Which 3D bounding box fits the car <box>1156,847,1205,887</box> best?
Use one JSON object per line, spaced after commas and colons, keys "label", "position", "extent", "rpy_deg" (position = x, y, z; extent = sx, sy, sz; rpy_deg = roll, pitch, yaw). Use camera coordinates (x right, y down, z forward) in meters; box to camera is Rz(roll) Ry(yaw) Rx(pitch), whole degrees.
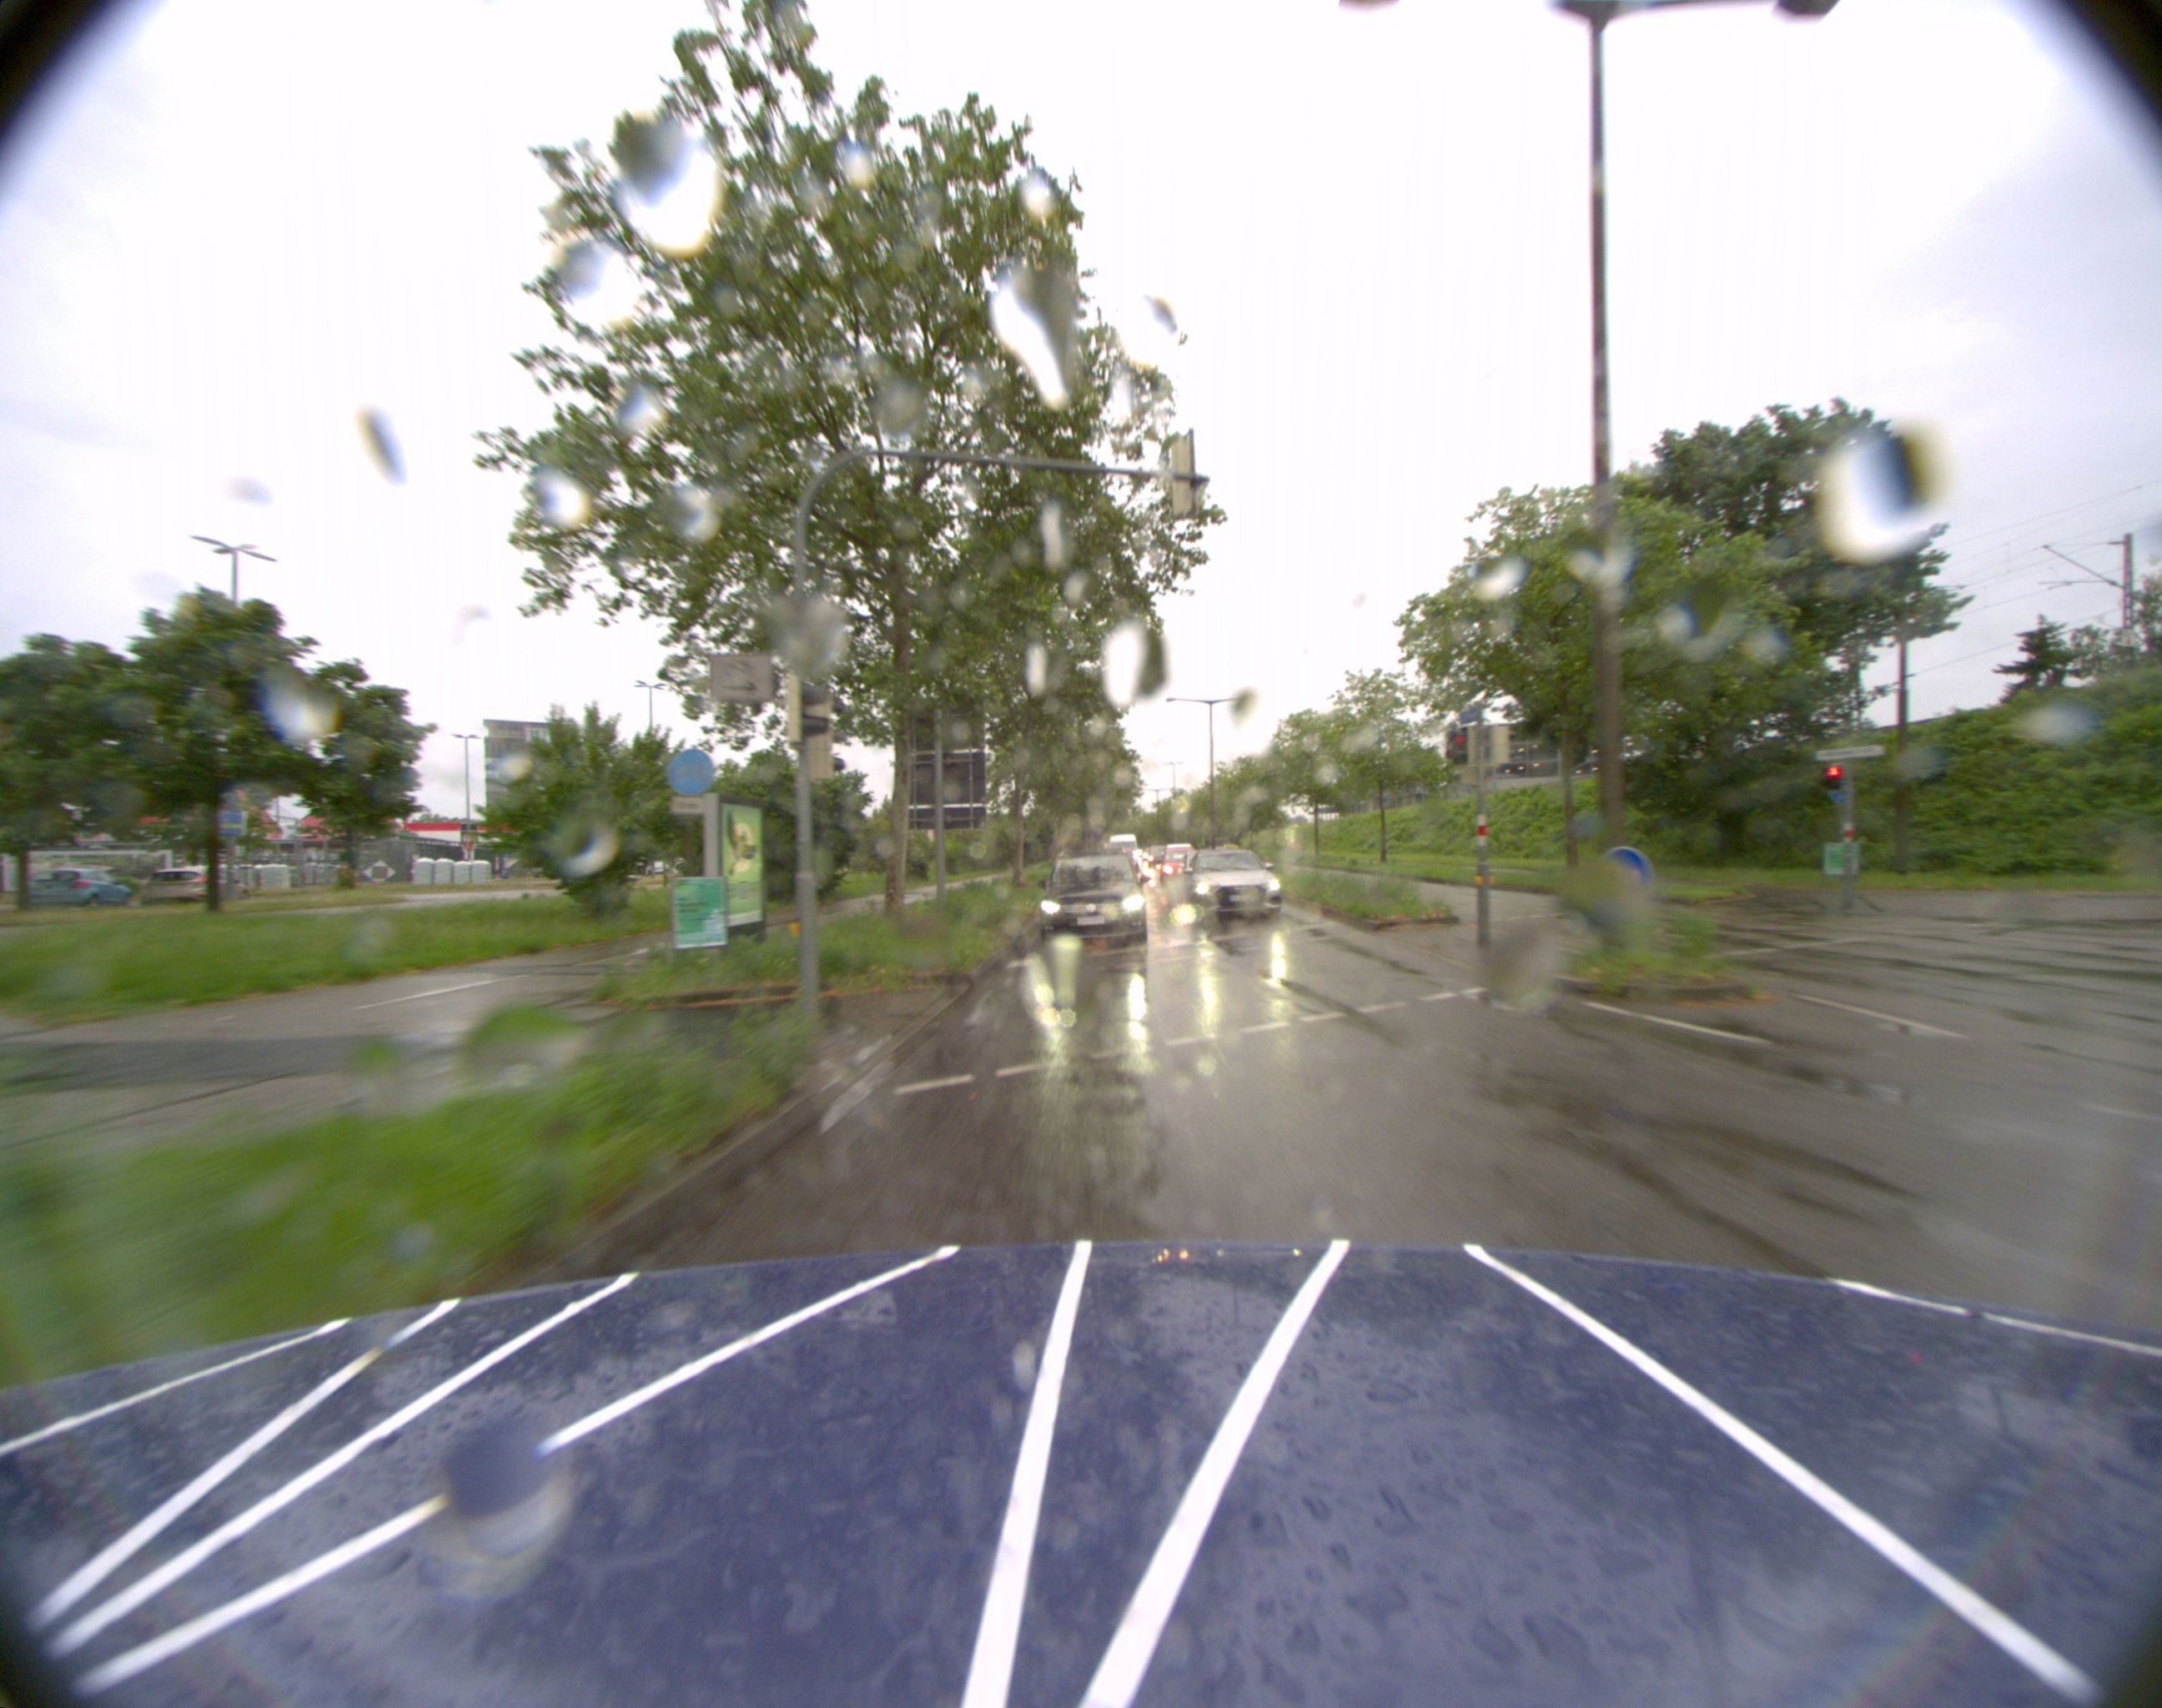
{"label": "car", "position": [4.083, 0.504, 31.736], "extent": [1.723, 1.456, 4.093], "rpy_deg": [-3, 1, 4]}

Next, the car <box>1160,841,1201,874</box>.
{"label": "car", "position": [5.437, 0.162, 41.853], "extent": [1.831, 1.603, 4.147], "rpy_deg": [-3, 1, 3]}

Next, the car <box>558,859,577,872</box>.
{"label": "car", "position": [-72.953, 1.630, 107.955], "extent": [2.006, 1.667, 4.262], "rpy_deg": [-2, 1, -32]}

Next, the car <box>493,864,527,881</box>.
{"label": "car", "position": [-57.660, 1.855, 76.781], "extent": [1.932, 1.543, 4.263], "rpy_deg": [-2, 1, -27]}

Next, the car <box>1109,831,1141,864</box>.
{"label": "car", "position": [3.069, -0.495, 52.512], "extent": [1.998, 2.002, 5.132], "rpy_deg": [-3, 1, 4]}

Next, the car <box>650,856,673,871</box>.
{"label": "car", "position": [-45.977, 1.045, 83.320], "extent": [1.932, 1.543, 4.264], "rpy_deg": [-2, 1, -25]}

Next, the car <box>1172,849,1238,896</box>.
{"label": "car", "position": [4.169, 0.573, 26.124], "extent": [1.682, 1.369, 4.011], "rpy_deg": [-3, 1, 2]}

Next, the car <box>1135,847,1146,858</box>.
{"label": "car", "position": [10.208, -0.309, 130.727], "extent": [1.724, 1.674, 3.728], "rpy_deg": [-3, 1, 3]}

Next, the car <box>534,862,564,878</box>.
{"label": "car", "position": [-55.061, 1.610, 78.732], "extent": [1.932, 1.543, 4.263], "rpy_deg": [-2, 1, -27]}

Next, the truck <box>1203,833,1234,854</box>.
{"label": "truck", "position": [15.953, -1.225, 88.677], "extent": [2.480, 2.351, 6.867], "rpy_deg": [-1, 1, 2]}

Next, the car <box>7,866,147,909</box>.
{"label": "car", "position": [-34.927, 1.104, 26.587], "extent": [1.872, 1.285, 4.038], "rpy_deg": [-2, 1, -37]}

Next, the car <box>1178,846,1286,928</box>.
{"label": "car", "position": [3.395, 0.652, 17.949], "extent": [1.773, 1.565, 4.821], "rpy_deg": [-3, 1, 3]}

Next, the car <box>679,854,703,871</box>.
{"label": "car", "position": [-38.317, 0.854, 74.702], "extent": [1.932, 1.543, 4.264], "rpy_deg": [-2, 1, -25]}

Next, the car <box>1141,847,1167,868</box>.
{"label": "car", "position": [5.680, 0.221, 59.515], "extent": [1.715, 1.494, 4.000], "rpy_deg": [-3, 1, 1]}

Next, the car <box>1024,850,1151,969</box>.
{"label": "car", "position": [0.187, 0.811, 13.447], "extent": [1.770, 1.596, 4.627], "rpy_deg": [-3, 1, 2]}

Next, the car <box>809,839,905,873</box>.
{"label": "car", "position": [-16.507, 0.107, 56.401], "extent": [6.423, 2.349, 2.390], "rpy_deg": [-1, 1, -5]}

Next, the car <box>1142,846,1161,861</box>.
{"label": "car", "position": [7.700, -0.045, 83.295], "extent": [1.715, 1.494, 4.000], "rpy_deg": [-3, 1, 1]}

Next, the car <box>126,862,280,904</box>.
{"label": "car", "position": [-31.715, 0.985, 27.640], "extent": [1.870, 1.285, 4.042], "rpy_deg": [-1, 1, -20]}

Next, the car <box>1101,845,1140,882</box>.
{"label": "car", "position": [2.073, 0.435, 39.537], "extent": [1.831, 1.737, 4.147], "rpy_deg": [-3, 1, 3]}
